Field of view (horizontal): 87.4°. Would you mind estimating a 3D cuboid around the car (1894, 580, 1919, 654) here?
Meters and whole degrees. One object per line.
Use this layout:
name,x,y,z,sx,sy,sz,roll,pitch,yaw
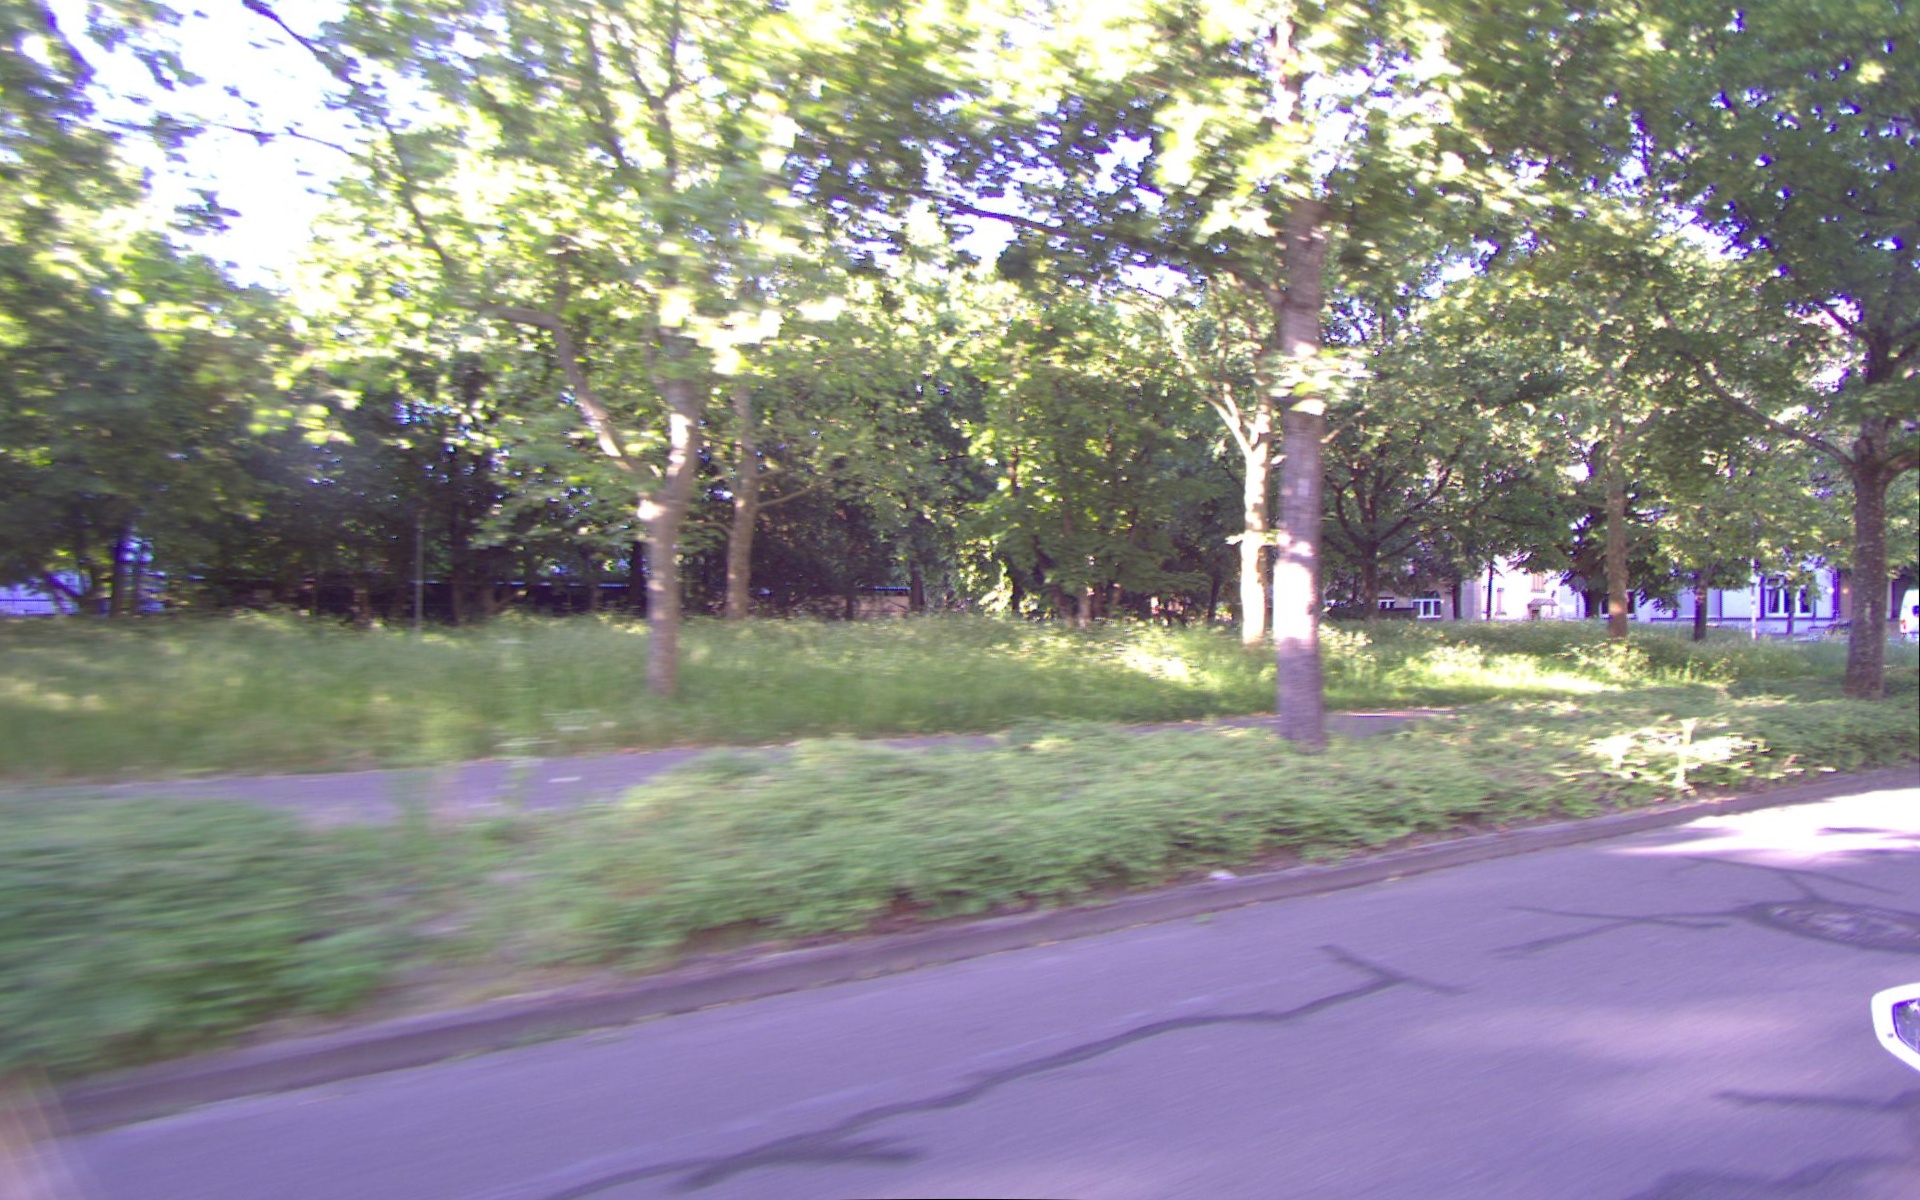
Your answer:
car,35.058,0.624,35.829,3.965,2.541,1.978,1,0,-39
